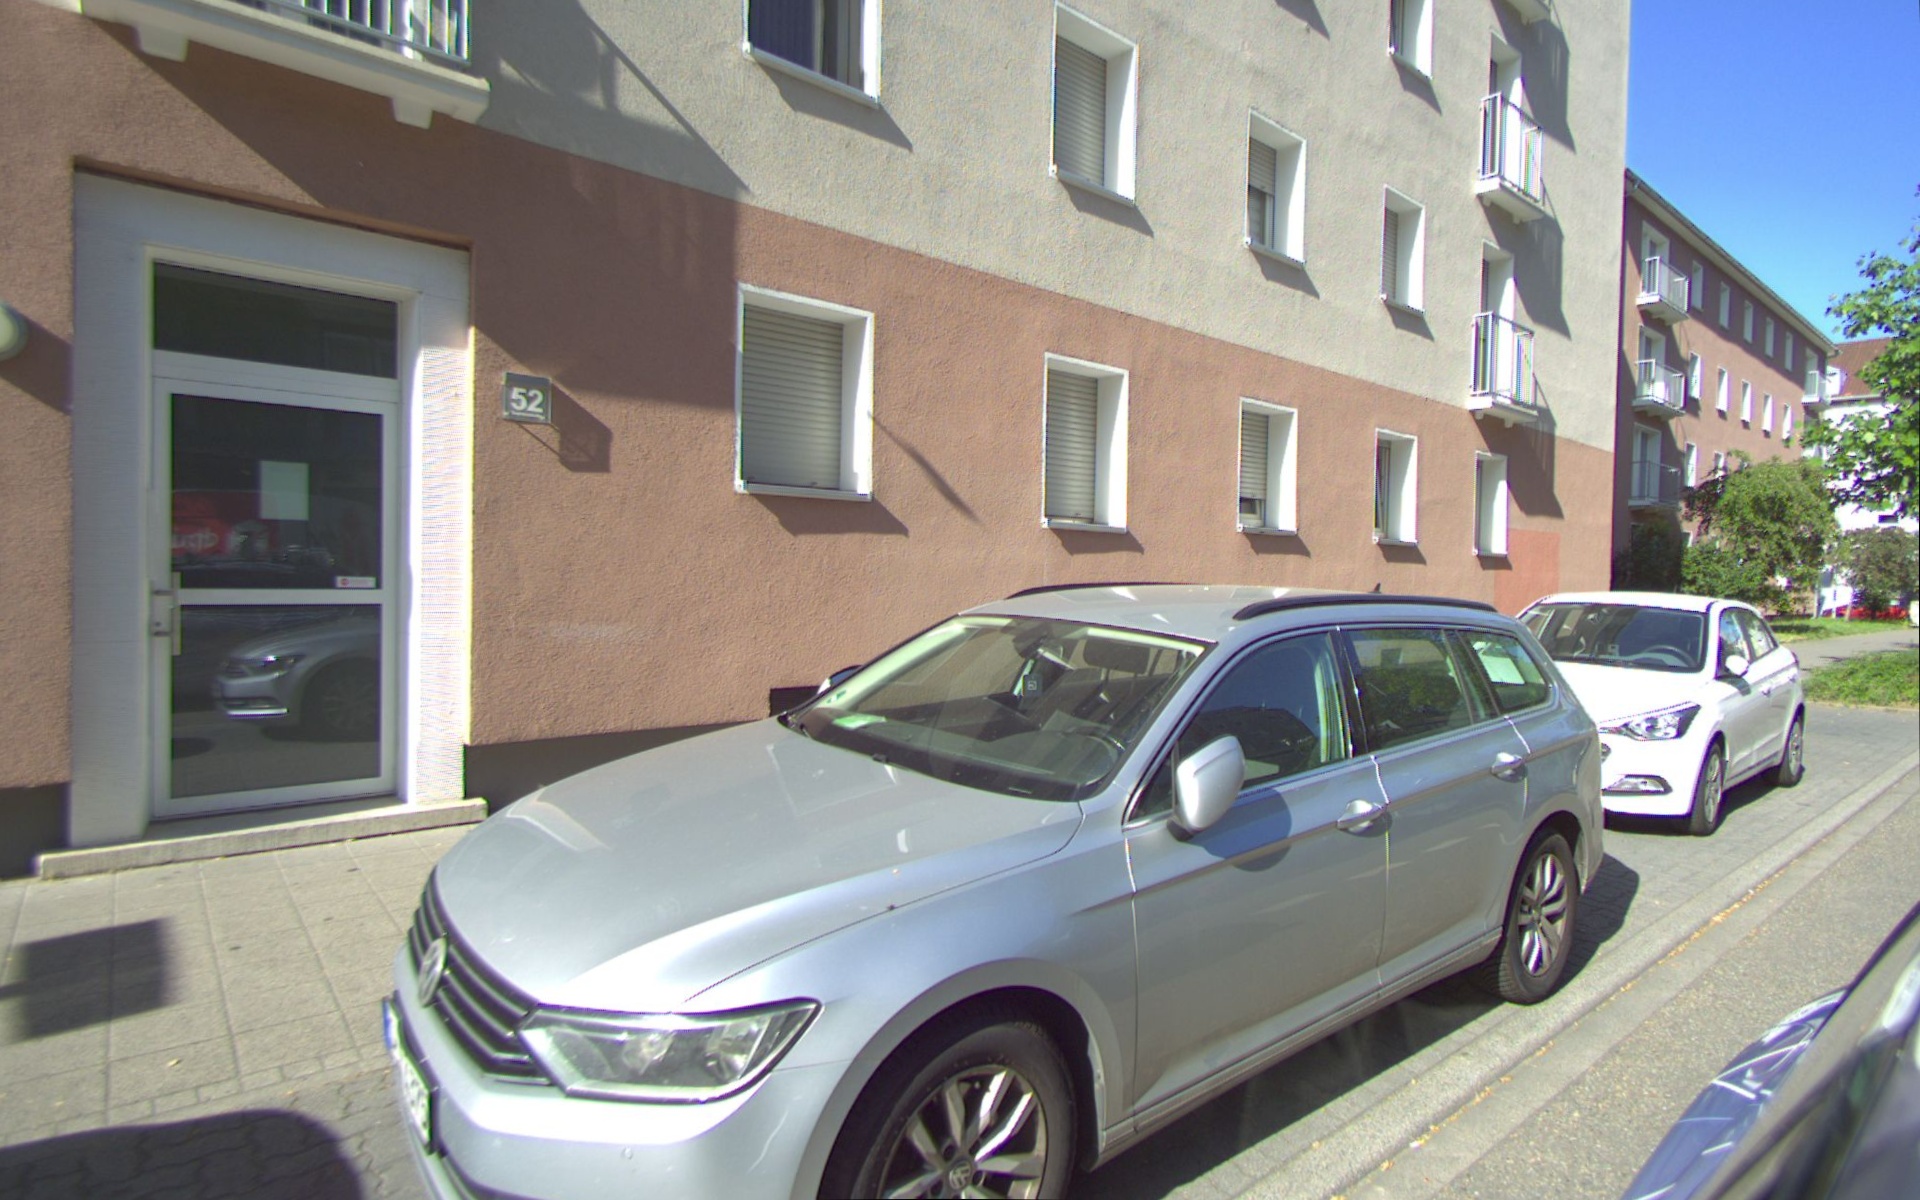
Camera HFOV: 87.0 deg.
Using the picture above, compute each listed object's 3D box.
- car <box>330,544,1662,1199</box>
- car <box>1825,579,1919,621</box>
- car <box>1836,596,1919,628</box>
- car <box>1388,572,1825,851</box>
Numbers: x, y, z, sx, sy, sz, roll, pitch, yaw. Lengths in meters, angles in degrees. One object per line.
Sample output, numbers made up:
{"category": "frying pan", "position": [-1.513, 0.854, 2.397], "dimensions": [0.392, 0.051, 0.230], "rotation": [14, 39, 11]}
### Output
{"category": "car", "position": [0.540, 0.617, 3.466], "dimensions": [4.434, 1.478, 1.791], "rotation": [0, 3, -38]}
{"category": "car", "position": [48.025, -0.036, 52.402], "dimensions": [1.967, 2.038, 4.748], "rotation": [0, 2, -44]}
{"category": "car", "position": [44.444, 0.564, 48.396], "dimensions": [1.540, 1.419, 3.647], "rotation": [0, 2, -39]}
{"category": "car", "position": [4.954, 0.598, 7.571], "dimensions": [3.729, 1.504, 1.735], "rotation": [0, 4, -41]}
